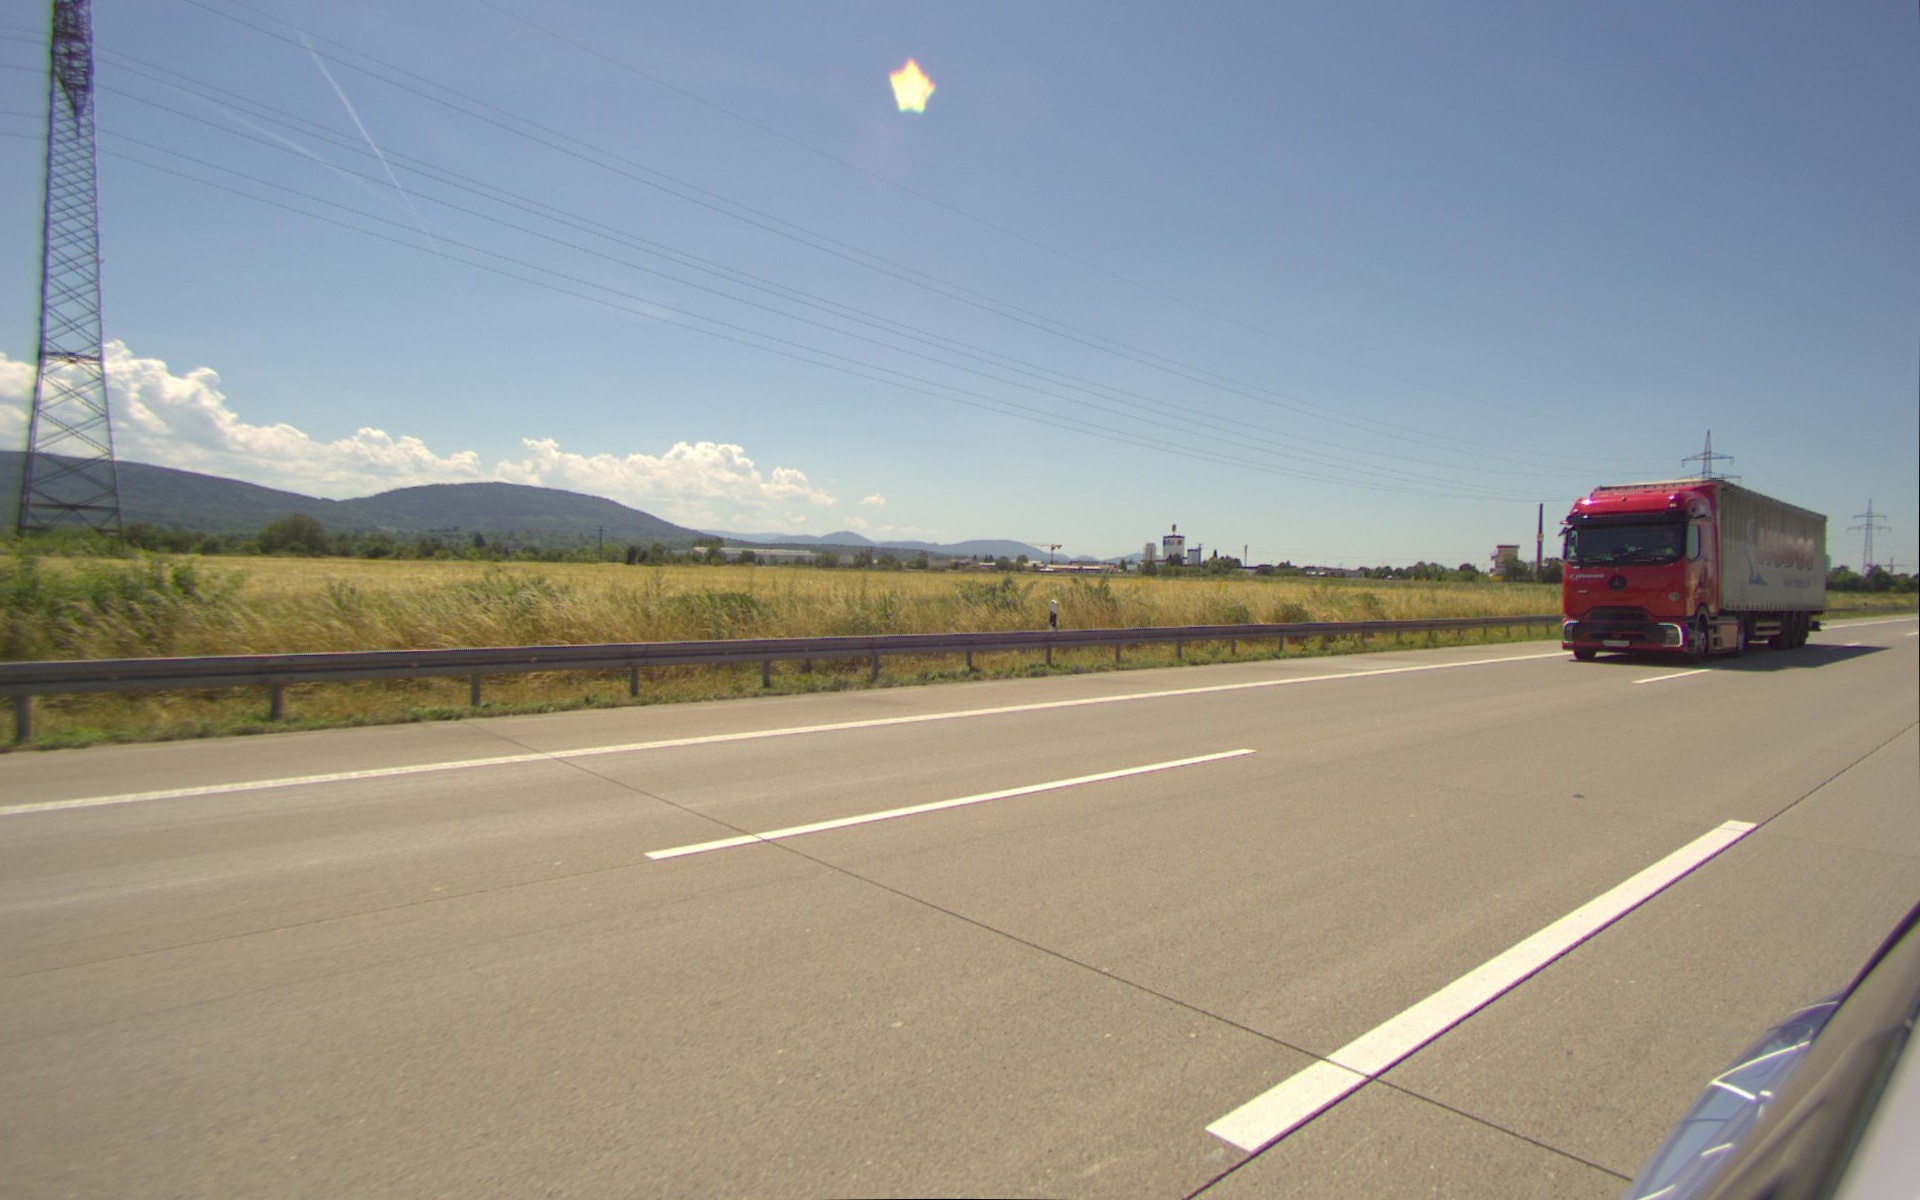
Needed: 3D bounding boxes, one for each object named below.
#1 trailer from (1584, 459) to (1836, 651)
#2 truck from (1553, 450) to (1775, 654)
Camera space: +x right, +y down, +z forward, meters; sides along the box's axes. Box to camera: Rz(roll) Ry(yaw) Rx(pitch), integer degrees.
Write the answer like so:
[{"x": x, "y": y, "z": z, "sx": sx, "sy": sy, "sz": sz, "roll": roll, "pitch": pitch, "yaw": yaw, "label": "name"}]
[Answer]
[{"x": 20.787, "y": -0.993, "z": 27.486, "sx": 13.279, "sy": 4.152, "sz": 2.878, "roll": 0, "pitch": 0, "yaw": -42, "label": "trailer"}, {"x": 16.605, "y": -0.983, "z": 23.723, "sx": 6.163, "sy": 4.153, "sz": 2.910, "roll": 0, "pitch": 0, "yaw": -42, "label": "truck"}]
